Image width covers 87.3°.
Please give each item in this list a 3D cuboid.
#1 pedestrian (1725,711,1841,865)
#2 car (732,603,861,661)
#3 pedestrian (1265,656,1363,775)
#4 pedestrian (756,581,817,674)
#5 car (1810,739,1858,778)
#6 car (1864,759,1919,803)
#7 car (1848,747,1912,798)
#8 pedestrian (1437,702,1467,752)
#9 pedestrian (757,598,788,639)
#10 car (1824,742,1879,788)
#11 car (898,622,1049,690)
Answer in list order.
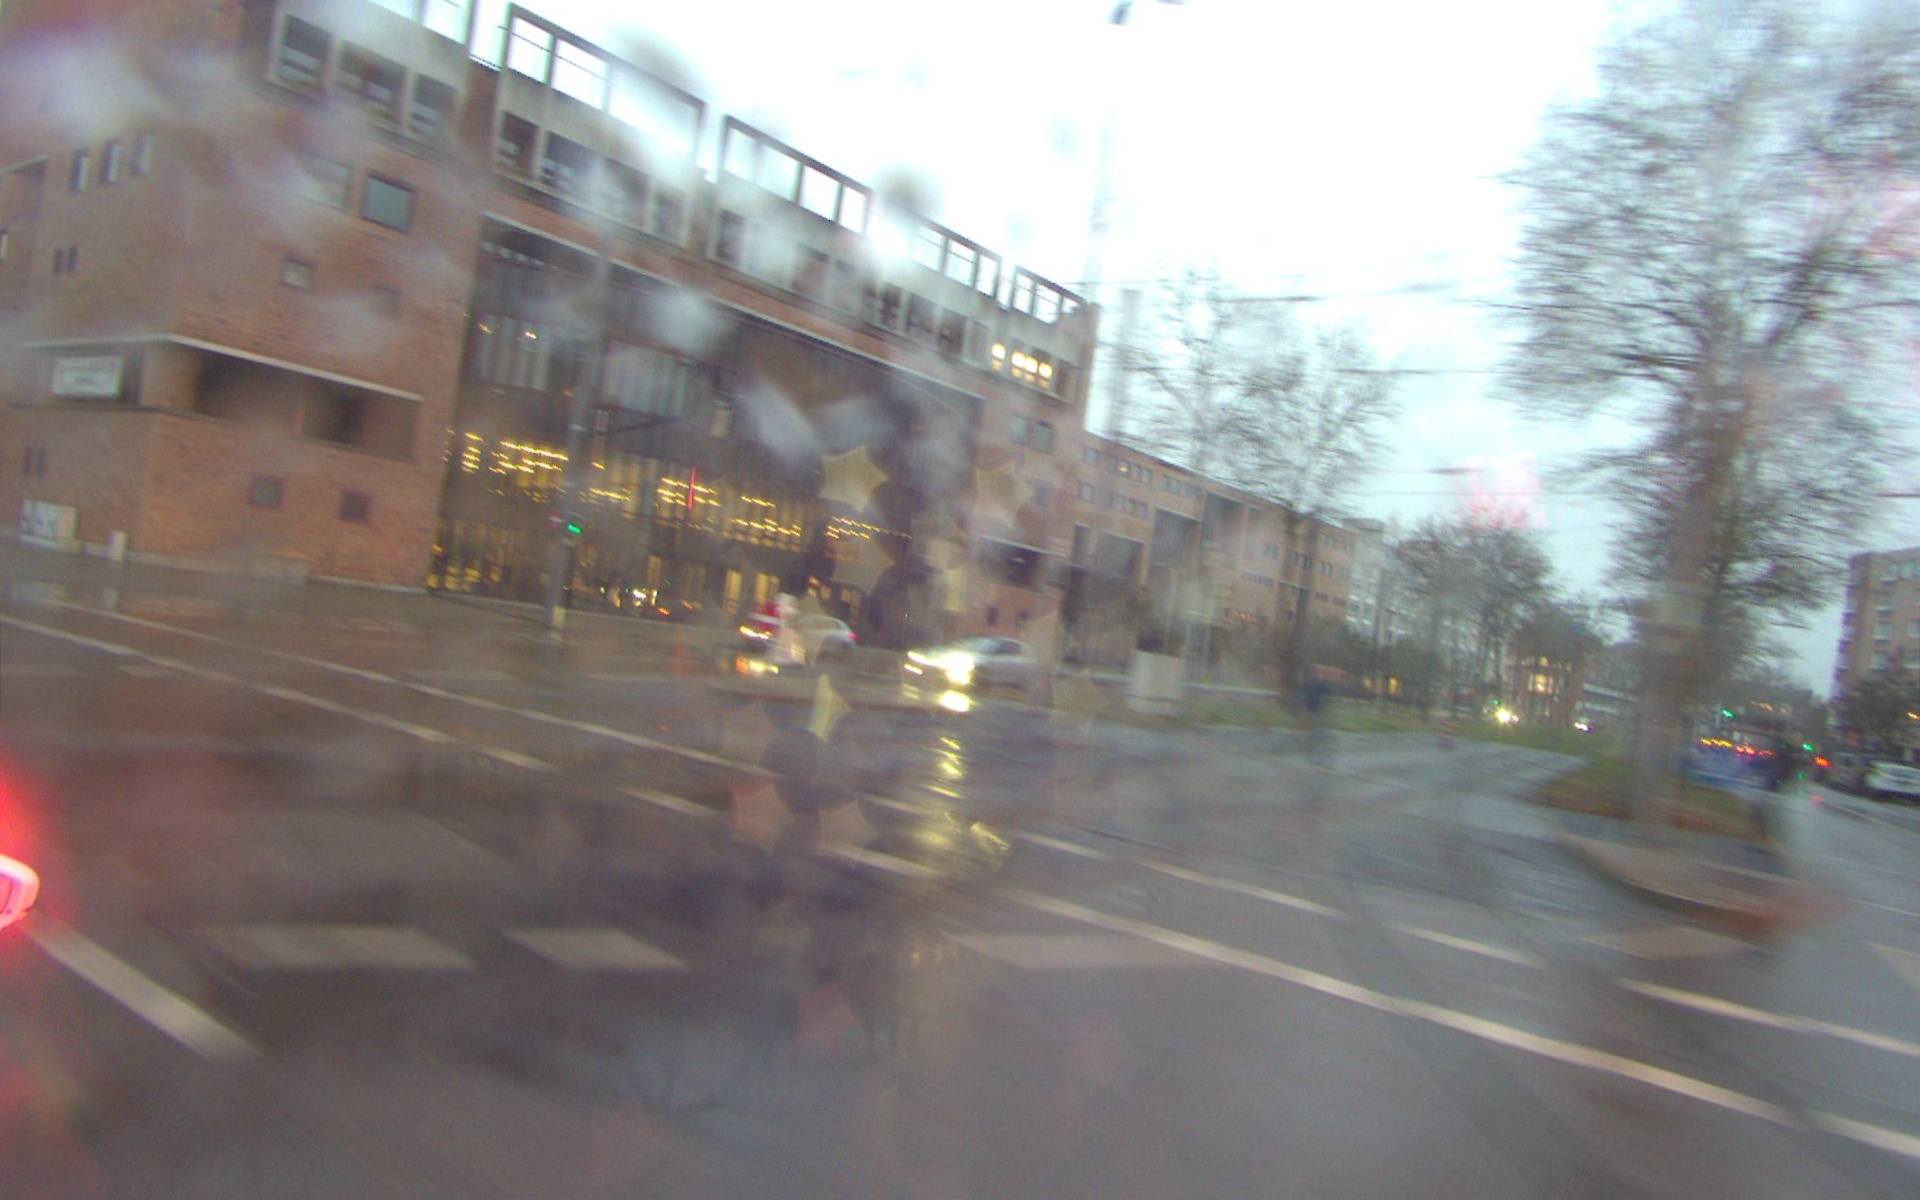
[{"bbox_3d":[10.877,2.455,13.329,0.639,1.832,0.800,8,0,1],"label":"pedestrian"},{"bbox_3d":[-5.340,1.079,33.215,1.786,1.325,3.985,8,-2,36],"label":"car"},{"bbox_3d":[6.026,1.954,17.131,1.137,1.808,0.774,8,0,43],"label":"pedestrian"},{"bbox_3d":[-3.615,0.573,20.964,0.722,1.808,0.735,8,0,31],"label":"pedestrian"},{"bbox_3d":[53.684,9.717,61.850,1.815,1.974,3.986,7,-1,39],"label":"car"},{"bbox_3d":[41.109,7.925,44.097,1.815,1.450,3.986,7,-1,39],"label":"car"},{"bbox_3d":[44.346,8.290,48.562,1.815,1.974,3.986,7,-1,39],"label":"car"},{"bbox_3d":[14.420,3.718,29.494,0.472,1.380,0.604,8,0,43],"label":"pedestrian"},{"bbox_3d":[-7.163,0.701,38.461,0.733,1.405,0.730,9,0,-34],"label":"pedestrian"},{"bbox_3d":[47.688,8.786,53.878,1.815,1.974,3.986,7,-1,39],"label":"car"},{"bbox_3d":[0.417,1.480,25.970,1.787,1.357,3.981,8,0,37],"label":"car"}]
